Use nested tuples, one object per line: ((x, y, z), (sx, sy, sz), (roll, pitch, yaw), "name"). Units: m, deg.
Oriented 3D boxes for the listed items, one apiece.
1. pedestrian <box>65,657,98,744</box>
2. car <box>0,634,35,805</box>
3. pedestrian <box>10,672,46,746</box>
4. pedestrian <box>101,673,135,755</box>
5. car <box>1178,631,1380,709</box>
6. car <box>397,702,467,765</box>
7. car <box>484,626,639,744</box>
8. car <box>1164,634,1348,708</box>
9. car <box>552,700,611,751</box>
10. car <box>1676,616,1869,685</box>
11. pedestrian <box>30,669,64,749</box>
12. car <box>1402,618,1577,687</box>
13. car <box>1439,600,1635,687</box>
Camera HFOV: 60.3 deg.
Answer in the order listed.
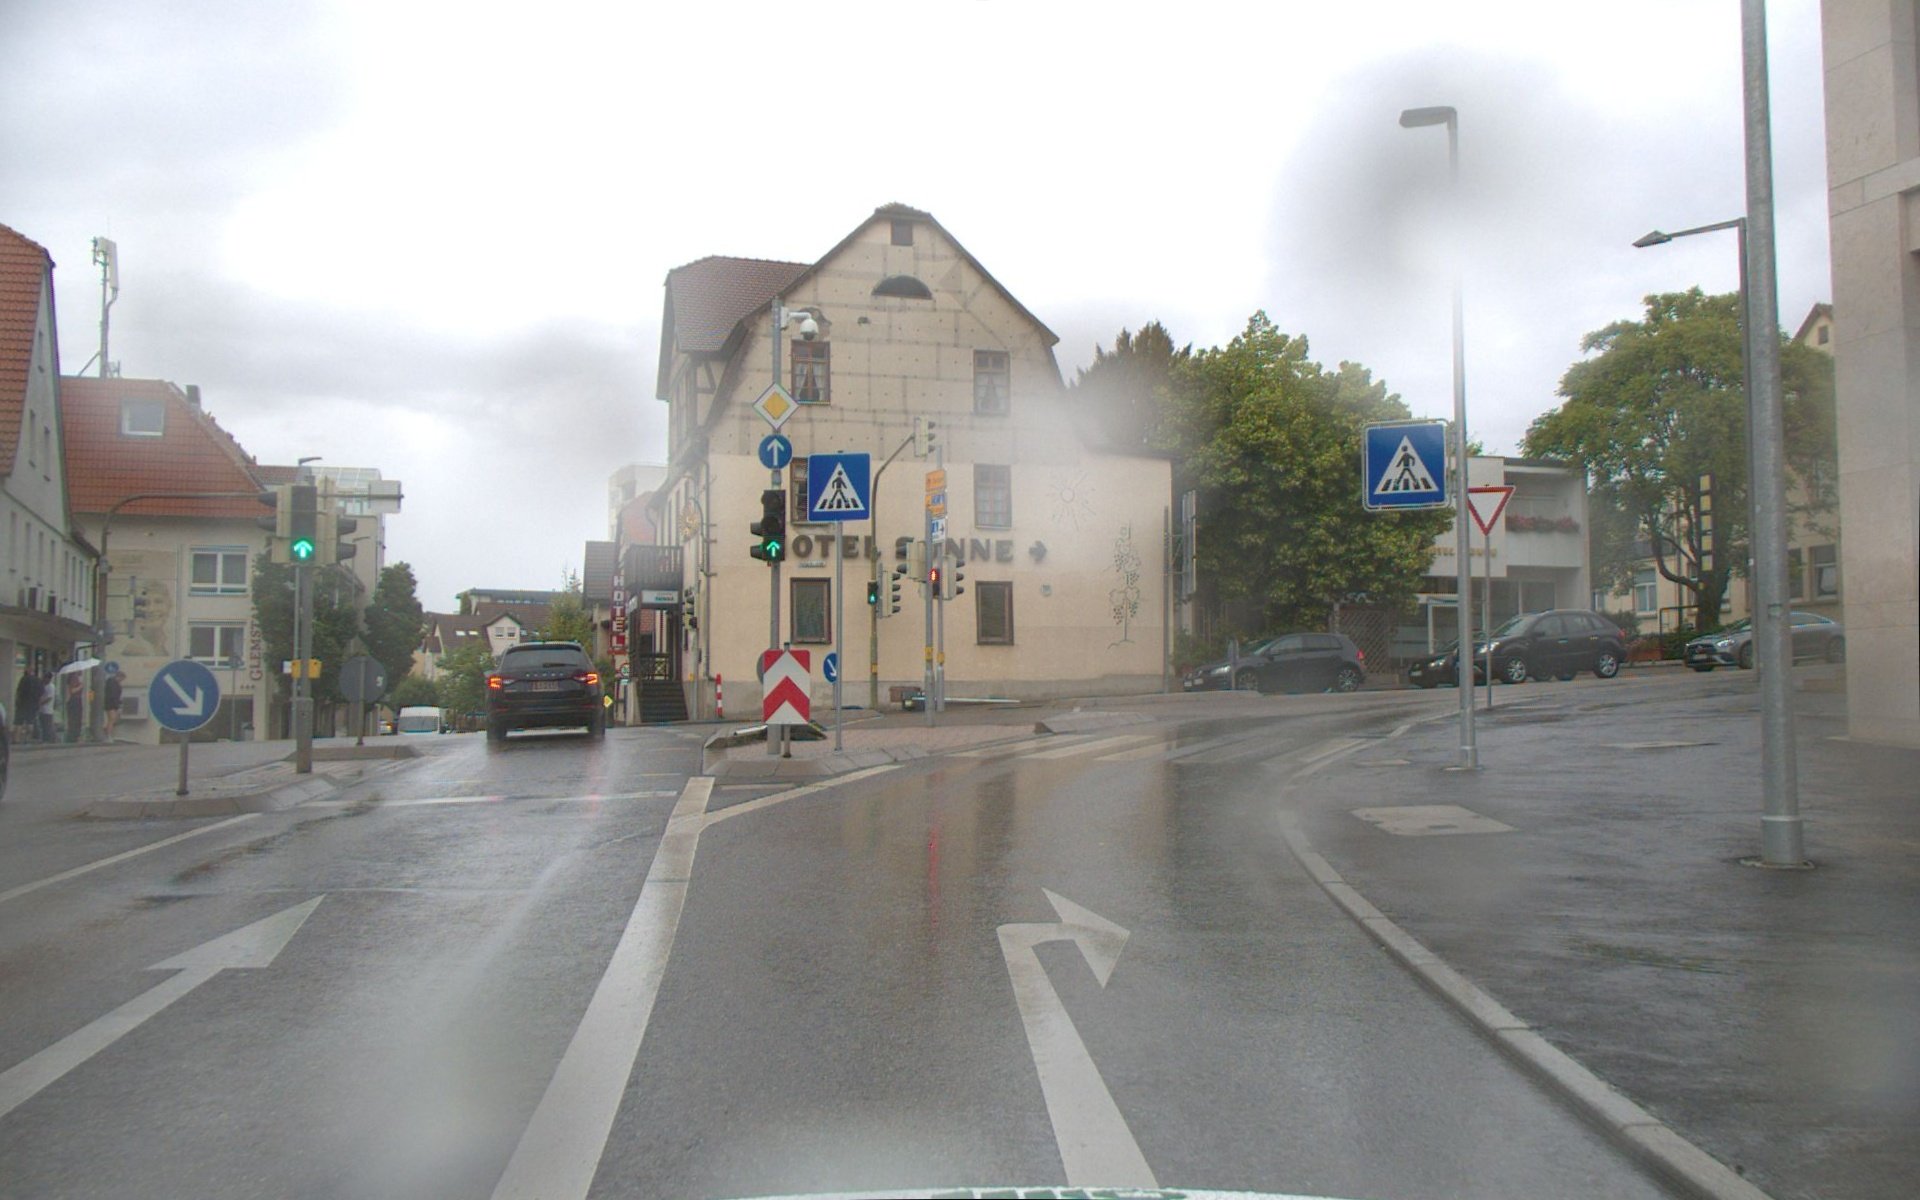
((-19.564, 2.228, 36.833), (0.527, 1.904, 0.630), (-2, -2, -21), "pedestrian")
((-9.145, 1.078, 13.221), (1.853, 1.493, 3.989), (-2, 0, -11), "car")
((-20.853, 2.431, 37.027), (0.584, 1.587, 0.630), (-2, -2, -21), "pedestrian")
((-20.047, 2.711, 39.373), (0.594, 1.900, 0.743), (-2, -2, -21), "pedestrian")
((7.403, 1.634, 38.466), (4.238, 1.531, 1.768), (-2, -5, -20), "car")
((-25.417, 6.386, 79.822), (2.543, 2.672, 6.535), (-2, -2, -12), "car")
((-6.233, 1.272, 26.323), (1.908, 1.594, 4.410), (0, 1, -7), "car")
((7.374, 1.779, 41.275), (4.108, 1.545, 1.769), (-2, -5, -18), "car")
((-13.586, 4.484, 59.525), (1.853, 1.493, 3.989), (-2, 0, -11), "car")
((21.079, 1.311, 42.915), (4.455, 1.477, 1.769), (-2, -5, -18), "car")
((-21.129, 2.503, 38.284), (0.584, 1.805, 0.630), (-2, -2, -21), "pedestrian")
((14.072, 1.397, 44.026), (4.108, 1.545, 1.769), (-2, -5, -18), "car")
((14.143, 1.069, 40.581), (4.235, 1.847, 1.769), (-2, -5, -18), "car")
